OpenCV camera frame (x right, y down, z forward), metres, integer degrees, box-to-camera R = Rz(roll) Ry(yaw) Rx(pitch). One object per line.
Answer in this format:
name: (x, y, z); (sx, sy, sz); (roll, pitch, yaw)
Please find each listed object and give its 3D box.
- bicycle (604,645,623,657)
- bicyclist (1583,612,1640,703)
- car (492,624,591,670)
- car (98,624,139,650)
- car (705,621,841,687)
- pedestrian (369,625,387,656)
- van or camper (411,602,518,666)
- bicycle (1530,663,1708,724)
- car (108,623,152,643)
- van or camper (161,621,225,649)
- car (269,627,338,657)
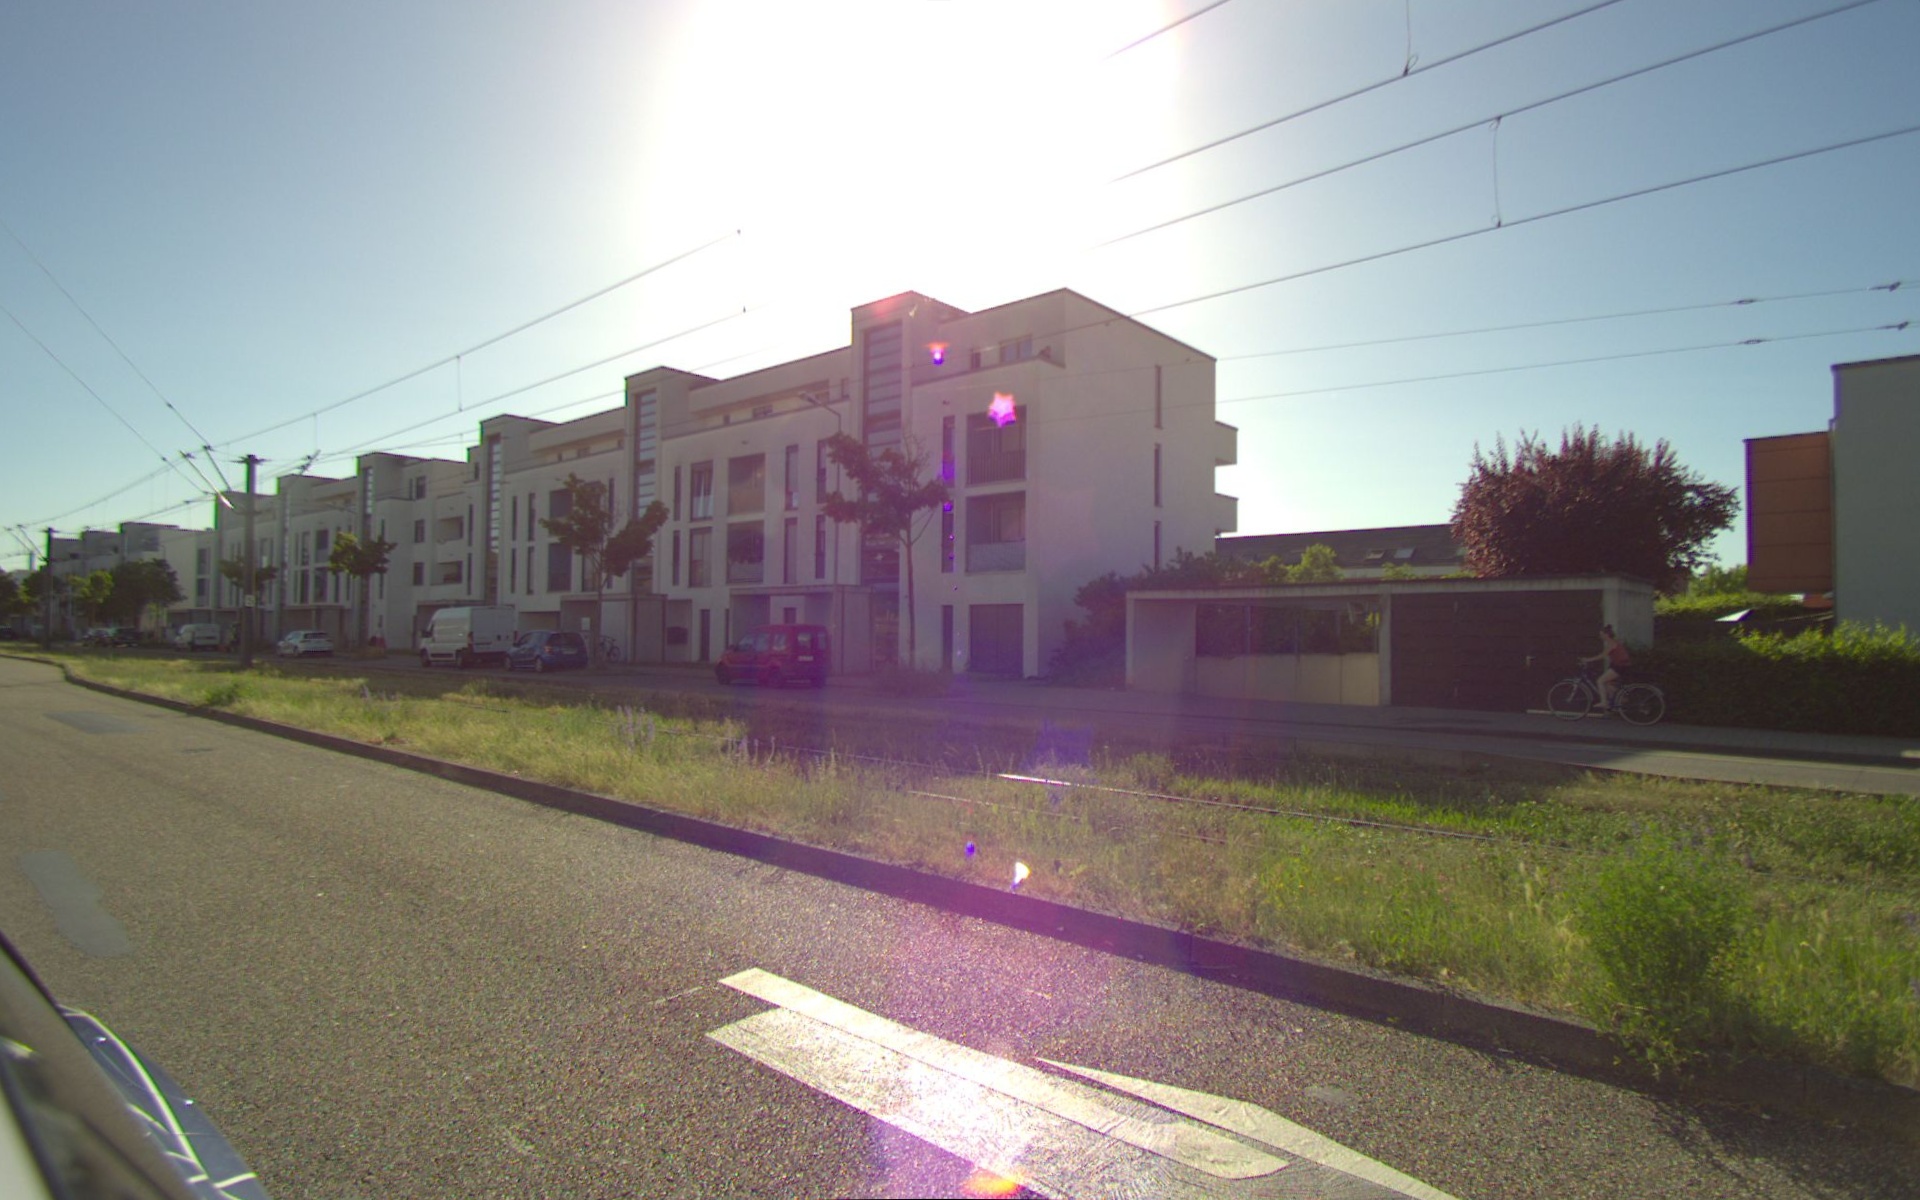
bicycle: (-15.968, 2.349, 46.684); (1.060, 0.502, 0.349); (-2, -3, 41)
bicyclist: (11.140, 0.975, 17.298); (0.744, 1.502, 0.881); (-1, -3, 36)
car: (-15.600, 1.723, 37.649); (3.835, 1.625, 1.909); (-1, -3, 42)
car: (-67.356, 2.947, 80.946); (3.995, 2.029, 1.765); (-1, -1, 39)
car: (-5.319, 1.484, 28.569); (3.908, 1.736, 1.769); (-1, -4, 43)
pedestrian: (-31.583, 2.177, 54.905); (0.611, 1.656, 0.612); (-1, -1, 35)
van or camper: (-20.672, 1.419, 42.122); (5.258, 2.484, 2.168); (-1, -3, 42)
bicycle: (11.177, 1.555, 17.236); (2.479, 0.899, 0.891); (-1, -3, 37)
car: (-62.288, 2.456, 75.928); (3.493, 1.449, 1.844); (0, 0, 38)
van or camper: (-52.664, 2.377, 69.419); (6.282, 1.862, 2.243); (-1, -2, 41)
car: (-36.132, 2.285, 55.670); (4.117, 1.598, 2.021); (-1, -3, 39)
